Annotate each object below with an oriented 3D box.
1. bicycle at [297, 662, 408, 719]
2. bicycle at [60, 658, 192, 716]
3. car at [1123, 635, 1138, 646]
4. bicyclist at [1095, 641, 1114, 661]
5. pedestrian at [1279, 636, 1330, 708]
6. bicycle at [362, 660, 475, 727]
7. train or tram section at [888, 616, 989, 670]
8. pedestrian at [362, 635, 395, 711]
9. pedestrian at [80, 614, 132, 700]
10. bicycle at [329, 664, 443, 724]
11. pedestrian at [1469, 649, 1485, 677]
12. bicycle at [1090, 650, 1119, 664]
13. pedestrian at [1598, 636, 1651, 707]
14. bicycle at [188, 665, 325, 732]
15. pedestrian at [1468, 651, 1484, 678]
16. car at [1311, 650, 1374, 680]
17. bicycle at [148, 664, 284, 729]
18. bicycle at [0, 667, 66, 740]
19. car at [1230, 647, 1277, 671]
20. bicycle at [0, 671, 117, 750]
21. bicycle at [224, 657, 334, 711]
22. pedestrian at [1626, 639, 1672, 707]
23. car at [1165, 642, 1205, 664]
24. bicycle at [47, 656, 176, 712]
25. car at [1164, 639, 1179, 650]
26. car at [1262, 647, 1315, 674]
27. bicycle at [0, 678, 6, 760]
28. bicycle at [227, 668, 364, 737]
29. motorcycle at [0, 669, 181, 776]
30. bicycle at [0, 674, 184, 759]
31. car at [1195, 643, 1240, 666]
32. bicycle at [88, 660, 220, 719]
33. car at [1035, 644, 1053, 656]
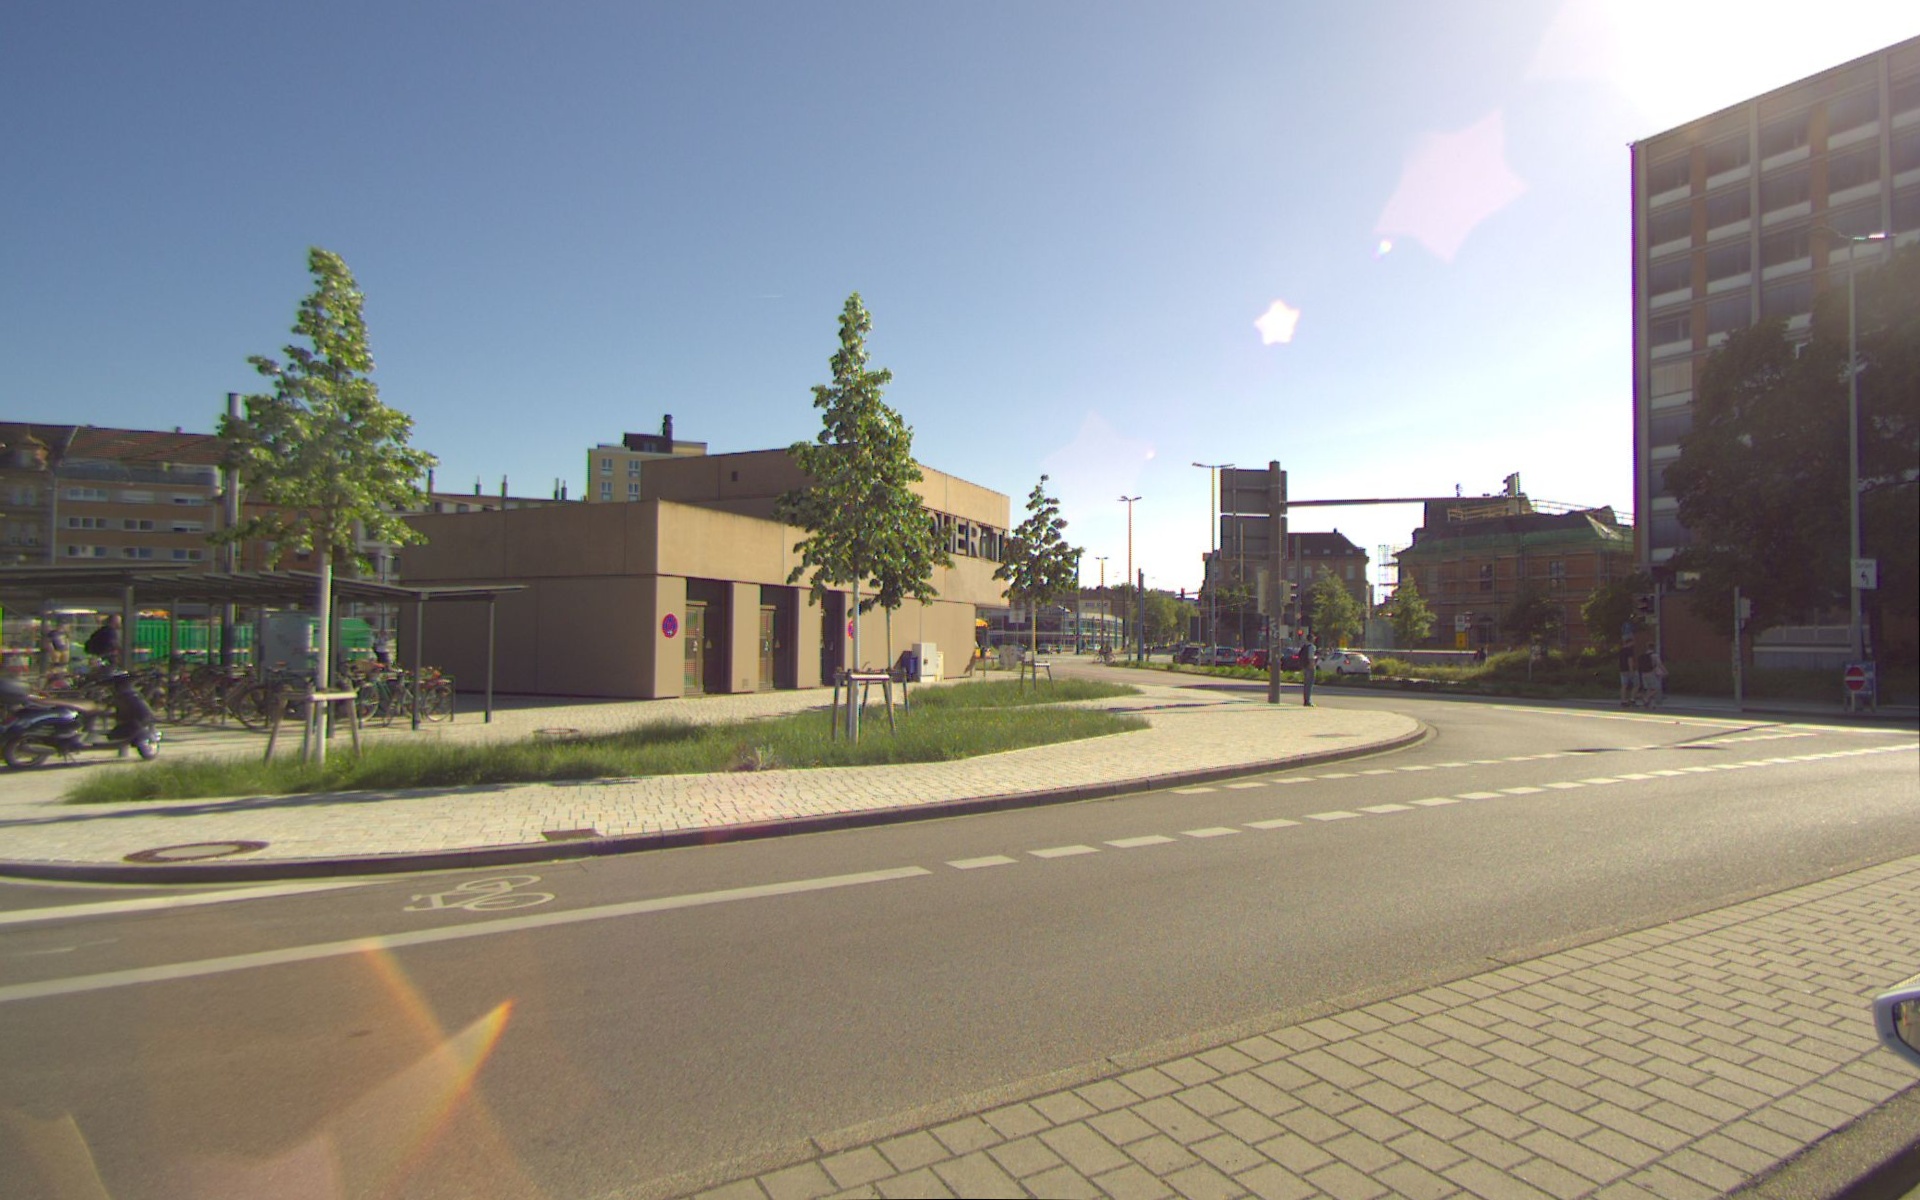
[{"bbox_3d":[-11.800,1.738,19.577,0.449,1.022,1.902,0,-2,26],"label":"bicycle"},{"bbox_3d":[-15.921,1.638,19.240,0.449,1.022,1.902,0,-2,26],"label":"bicycle"},{"bbox_3d":[34.327,8.141,202.374,1.961,2.040,3.998,2,0,23],"label":"car"},{"bbox_3d":[12.188,4.294,84.877,1.544,1.655,0.811,2,0,8],"label":"bicyclist"},{"bbox_3d":[8.648,1.797,25.218,1.044,1.753,0.652,1,-2,-16],"label":"pedestrian"},{"bbox_3d":[-9.931,1.691,18.490,0.449,1.112,1.902,0,-2,26],"label":"bicycle"},{"bbox_3d":[-1.263,2.796,68.592,2.649,3.275,10.595,2,0,24],"label":"train or tram section"},{"bbox_3d":[-15.912,1.998,27.486,0.710,2.039,0.682,2,-4,-30],"label":"pedestrian"},{"bbox_3d":[-18.869,1.254,22.199,0.555,1.858,0.683,0,-2,27],"label":"pedestrian"},{"bbox_3d":[-10.710,1.728,18.819,0.449,1.022,1.902,0,-2,26],"label":"bicycle"},{"bbox_3d":[33.213,4.059,64.560,0.754,1.753,0.675,2,-2,-39],"label":"pedestrian"},{"bbox_3d":[12.197,4.827,84.830,2.370,1.076,0.811,2,0,8],"label":"bicycle"},{"bbox_3d":[18.123,1.936,27.394,0.895,1.887,0.813,1,-2,-16],"label":"pedestrian"},{"bbox_3d":[-11.892,1.646,17.059,0.449,1.022,1.902,0,-2,26],"label":"bicycle"},{"bbox_3d":[35.161,4.393,68.458,0.752,1.753,0.677,2,-2,-32],"label":"pedestrian"},{"bbox_3d":[21.249,3.586,55.934,1.760,1.528,3.880,1,-2,-6],"label":"car"},{"bbox_3d":[-12.902,1.643,17.489,0.449,1.022,1.902,0,-2,26],"label":"bicycle"},{"bbox_3d":[-14.162,1.503,14.446,0.449,1.022,1.902,0,-2,26],"label":"bicycle"},{"bbox_3d":[20.206,4.024,69.250,1.760,1.528,3.880,1,-2,-6],"label":"car"},{"bbox_3d":[-13.032,1.531,14.015,0.449,1.022,1.902,0,-2,26],"label":"bicycle"},{"bbox_3d":[-14.076,1.722,20.829,0.449,1.022,1.902,0,-2,26],"label":"bicycle"},{"bbox_3d":[18.181,1.921,26.523,0.748,1.753,0.680,1,-2,-16],"label":"pedestrian"},{"bbox_3d":[16.777,3.920,74.997,1.760,1.528,3.880,1,-2,-6],"label":"car"},{"bbox_3d":[-16.703,1.633,19.838,0.449,1.022,1.902,0,-2,26],"label":"bicycle"},{"bbox_3d":[41.747,8.745,198.125,1.760,2.040,3.993,0,-2,29],"label":"car"},{"bbox_3d":[20.473,3.758,62.778,1.760,1.528,3.880,1,-2,-6],"label":"car"},{"bbox_3d":[-12.749,1.479,12.003,0.449,1.022,1.902,0,-2,26],"label":"bicycle"},{"bbox_3d":[-10.914,1.657,16.570,0.449,1.022,1.902,0,-2,26],"label":"bicycle"},{"bbox_3d":[-10.923,1.470,12.470,0.508,1.166,1.947,0,-2,25],"label":"motorcycle"},{"bbox_3d":[-11.818,1.550,13.723,0.449,1.022,1.902,0,-2,26],"label":"bicycle"},{"bbox_3d":[17.458,3.685,68.271,1.760,1.528,3.880,1,-2,-6],"label":"car"},{"bbox_3d":[-15.084,1.650,18.865,0.449,1.022,1.902,0,-2,26],"label":"bicycle"},{"bbox_3d":[11.565,6.849,137.719,1.709,1.672,4.002,0,-2,17],"label":"car"}]
